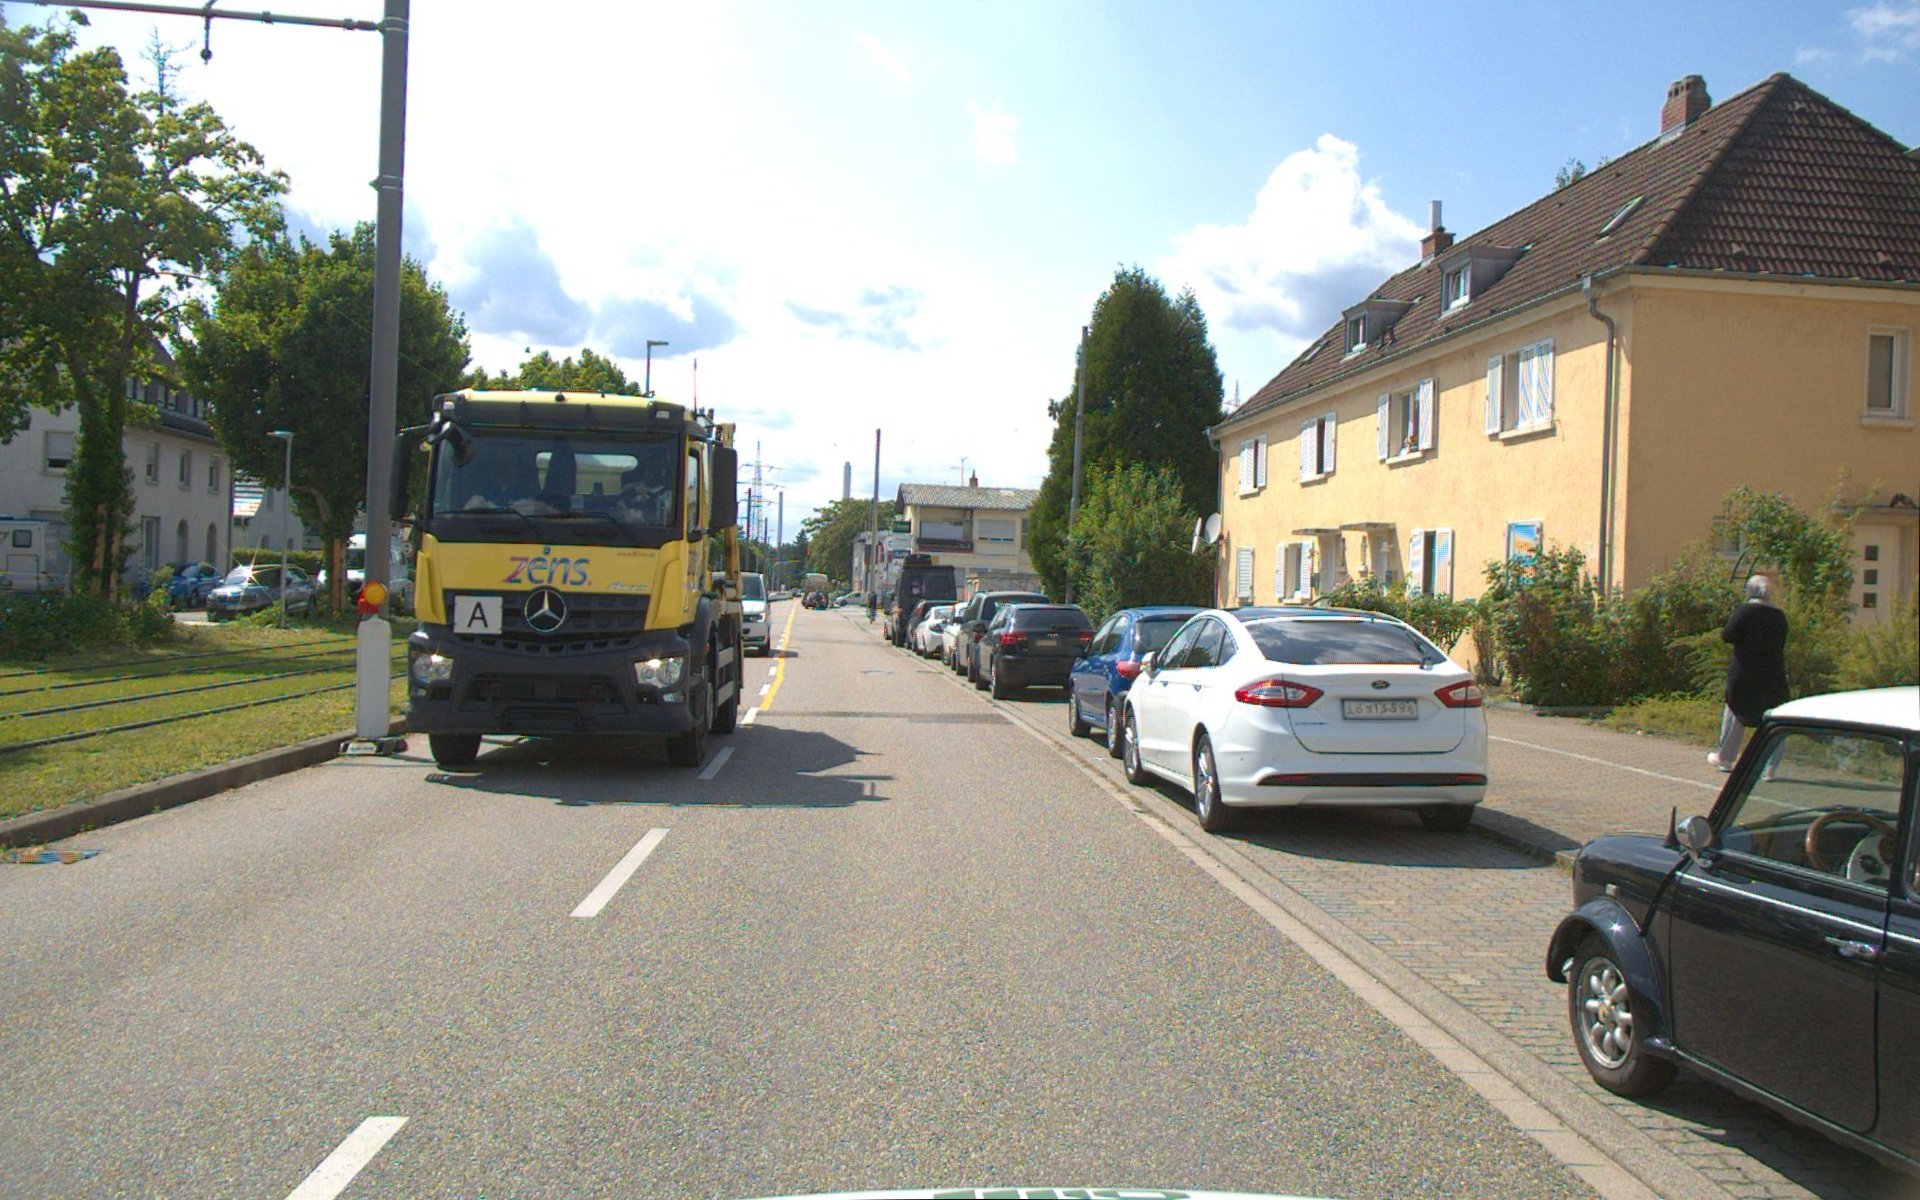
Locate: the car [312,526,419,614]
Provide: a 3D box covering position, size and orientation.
[{"bbox_3d":[-19.752,-0.963,55.293,2.035,2.769,6.988,0,0,-9],"label":"car"}]

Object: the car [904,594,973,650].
[{"bbox_3d":[-0.663,0.599,47.860,1.729,1.529,3.996,0,0,-5],"label":"car"}]

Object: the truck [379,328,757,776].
[{"bbox_3d":[-3.529,-0.407,16.651,2.509,3.520,7.144,0,0,-4],"label":"truck"}]

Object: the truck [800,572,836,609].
[{"bbox_3d":[-14.098,-0.931,163.412,3.160,3.461,11.336,1,0,-7],"label":"truck"}]

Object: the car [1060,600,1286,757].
[{"bbox_3d":[2.148,0.742,17.662,1.589,1.442,3.996,0,0,-5],"label":"car"}]

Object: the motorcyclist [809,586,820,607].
[{"bbox_3d":[-12.445,-0.303,141.153,0.867,1.696,1.108,2,0,-6],"label":"motorcyclist"}]

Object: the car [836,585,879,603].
[{"bbox_3d":[-11.462,-0.686,184.055,4.558,1.854,1.831,2,0,-10],"label":"car"}]

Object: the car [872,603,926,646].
[{"bbox_3d":[-2.298,0.881,61.338,1.730,1.529,3.995,0,0,-6],"label":"car"}]

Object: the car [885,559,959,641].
[{"bbox_3d":[-1.305,-0.031,53.918,1.922,2.522,6.052,0,0,-6],"label":"car"}]

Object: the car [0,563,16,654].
[{"bbox_3d":[-16.965,0.156,26.171,1.694,1.531,4.564,0,0,-4],"label":"car"}]

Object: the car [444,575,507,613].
[{"bbox_3d":[-20.963,-0.255,71.713,1.842,1.580,4.373,1,0,-6],"label":"car"}]

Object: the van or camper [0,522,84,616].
[{"bbox_3d":[-34.524,-1.133,57.413,6.748,3.180,2.440,1,0,-6],"label":"van or camper"}]

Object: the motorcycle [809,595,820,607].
[{"bbox_3d":[-12.479,0.083,141.413,0.866,0.940,2.613,2,0,-6],"label":"motorcycle"}]

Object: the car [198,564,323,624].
[{"bbox_3d":[-18.796,-0.184,44.670,1.694,1.531,4.564,0,0,-4],"label":"car"}]

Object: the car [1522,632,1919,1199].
[{"bbox_3d":[2.815,0.809,4.286,1.315,1.364,3.284,2,-1,-6],"label":"car"}]

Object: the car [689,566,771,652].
[{"bbox_3d":[-5.659,0.187,41.108,1.892,1.993,5.368,0,0,-7],"label":"car"}]

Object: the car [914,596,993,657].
[{"bbox_3d":[-0.207,0.647,42.705,1.729,1.465,3.996,0,0,-5],"label":"car"}]

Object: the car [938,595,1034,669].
[{"bbox_3d":[0.516,0.656,36.445,1.729,1.502,3.996,0,0,-5],"label":"car"}]

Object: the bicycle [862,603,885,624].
[{"bbox_3d":[-4.613,0.716,88.399,0.976,1.067,2.807,2,0,-8],"label":"bicycle"}]

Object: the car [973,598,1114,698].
[{"bbox_3d":[1.251,0.707,26.441,1.729,1.442,3.996,0,0,-5],"label":"car"}]

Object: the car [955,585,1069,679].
[{"bbox_3d":[0.922,0.551,31.627,1.729,1.672,3.996,0,0,-5],"label":"car"}]

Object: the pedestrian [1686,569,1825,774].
[{"bbox_3d":[6.777,0.598,14.116,0.836,1.681,0.637,2,0,0],"label":"pedestrian"}]

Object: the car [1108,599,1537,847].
[{"bbox_3d":[2.422,0.751,12.406,1.764,1.483,4.759,0,0,-6],"label":"car"}]

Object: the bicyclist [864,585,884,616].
[{"bbox_3d":[-4.601,0.013,88.452,0.976,1.596,1.138,2,0,-8],"label":"bicyclist"}]

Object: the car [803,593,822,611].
[{"bbox_3d":[-13.053,0.192,146.424,1.538,1.524,4.142,2,0,-7],"label":"car"}]
